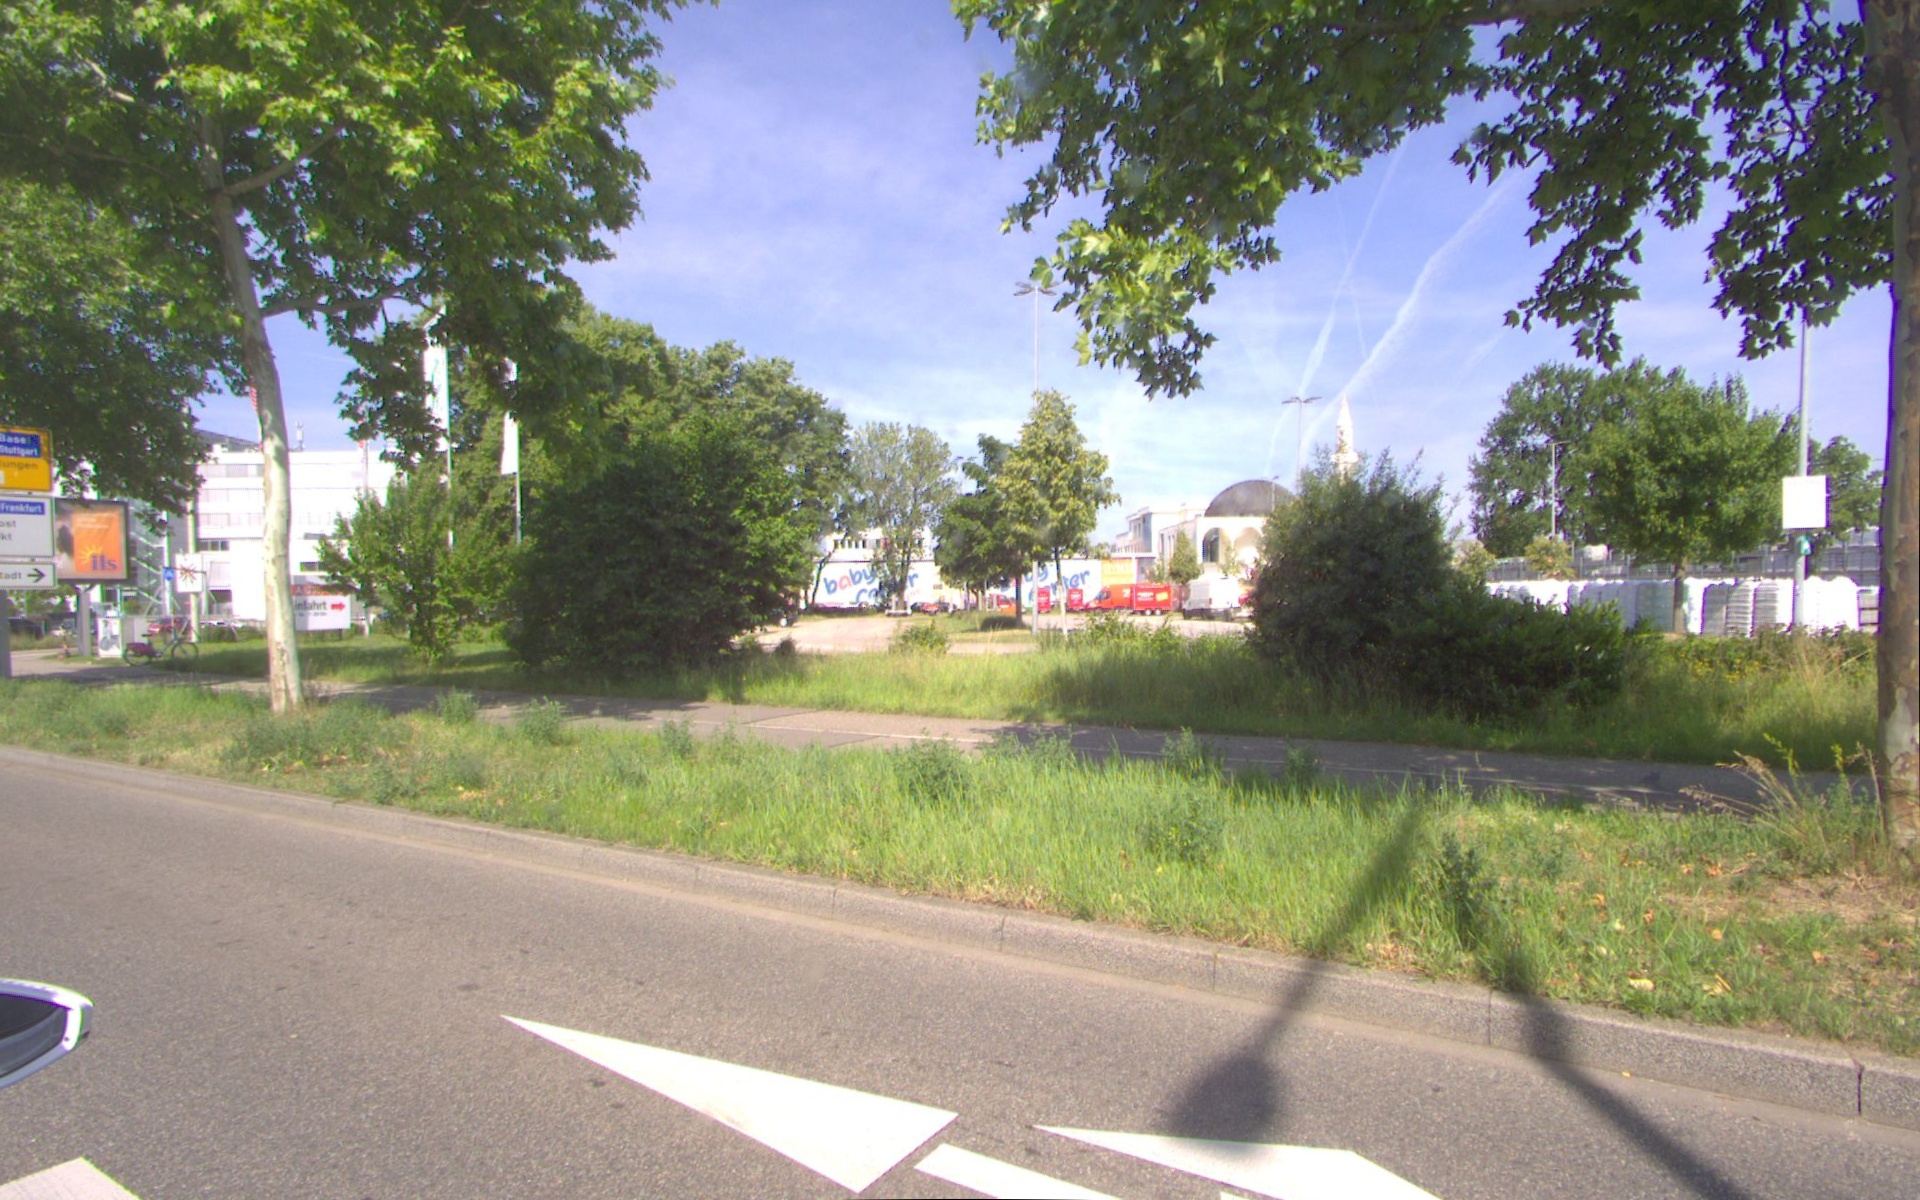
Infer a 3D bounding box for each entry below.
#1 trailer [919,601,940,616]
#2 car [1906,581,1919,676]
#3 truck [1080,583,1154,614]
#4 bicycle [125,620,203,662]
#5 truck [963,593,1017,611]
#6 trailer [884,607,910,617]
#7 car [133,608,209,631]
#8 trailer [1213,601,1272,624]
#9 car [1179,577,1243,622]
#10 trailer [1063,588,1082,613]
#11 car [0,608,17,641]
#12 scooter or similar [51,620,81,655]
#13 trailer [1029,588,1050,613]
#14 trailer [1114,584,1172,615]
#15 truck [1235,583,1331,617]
[{"bbox_3d":[-2.934,0.812,95.656,1.560,1.304,4.409,-1,0,-7],"label":"trailer"},{"bbox_3d":[16.431,0.472,15.241,1.820,1.606,3.849,-1,0,25],"label":"car"},{"bbox_3d":[13.328,-0.135,85.185,5.914,2.644,2.018,0,0,-6],"label":"truck"},{"bbox_3d":[-23.811,1.216,29.992,1.771,1.123,0.499,-3,2,-40],"label":"bicycle"},{"bbox_3d":[3.365,0.234,112.922,5.888,1.855,2.188,0,-2,-2],"label":"truck"},{"bbox_3d":[-5.948,1.122,94.907,2.059,0.792,4.411,-1,0,1],"label":"trailer"},{"bbox_3d":[-54.008,1.337,68.639,1.747,1.463,4.625,-1,0,-4],"label":"car"},{"bbox_3d":[15.928,0.665,56.628,2.029,1.137,4.031,-3,0,-2],"label":"trailer"},{"bbox_3d":[15.511,-0.041,62.219,1.980,2.576,5.687,-3,0,-6],"label":"car"},{"bbox_3d":[10.892,0.035,97.189,1.520,2.390,4.410,0,1,2],"label":"trailer"},{"bbox_3d":[-50.137,1.271,50.013,1.879,1.711,4.625,-1,0,-4],"label":"car"},{"bbox_3d":[-29.904,1.235,33.507,1.107,1.141,0.423,0,1,32],"label":"scooter or similar"},{"bbox_3d":[7.745,0.023,97.808,1.560,2.408,4.410,0,1,-1],"label":"trailer"},{"bbox_3d":[14.503,-0.038,79.448,4.325,2.409,1.751,0,1,0],"label":"trailer"},{"bbox_3d":[21.618,0.006,67.181,5.751,2.168,2.066,-1,0,-1],"label":"truck"}]
